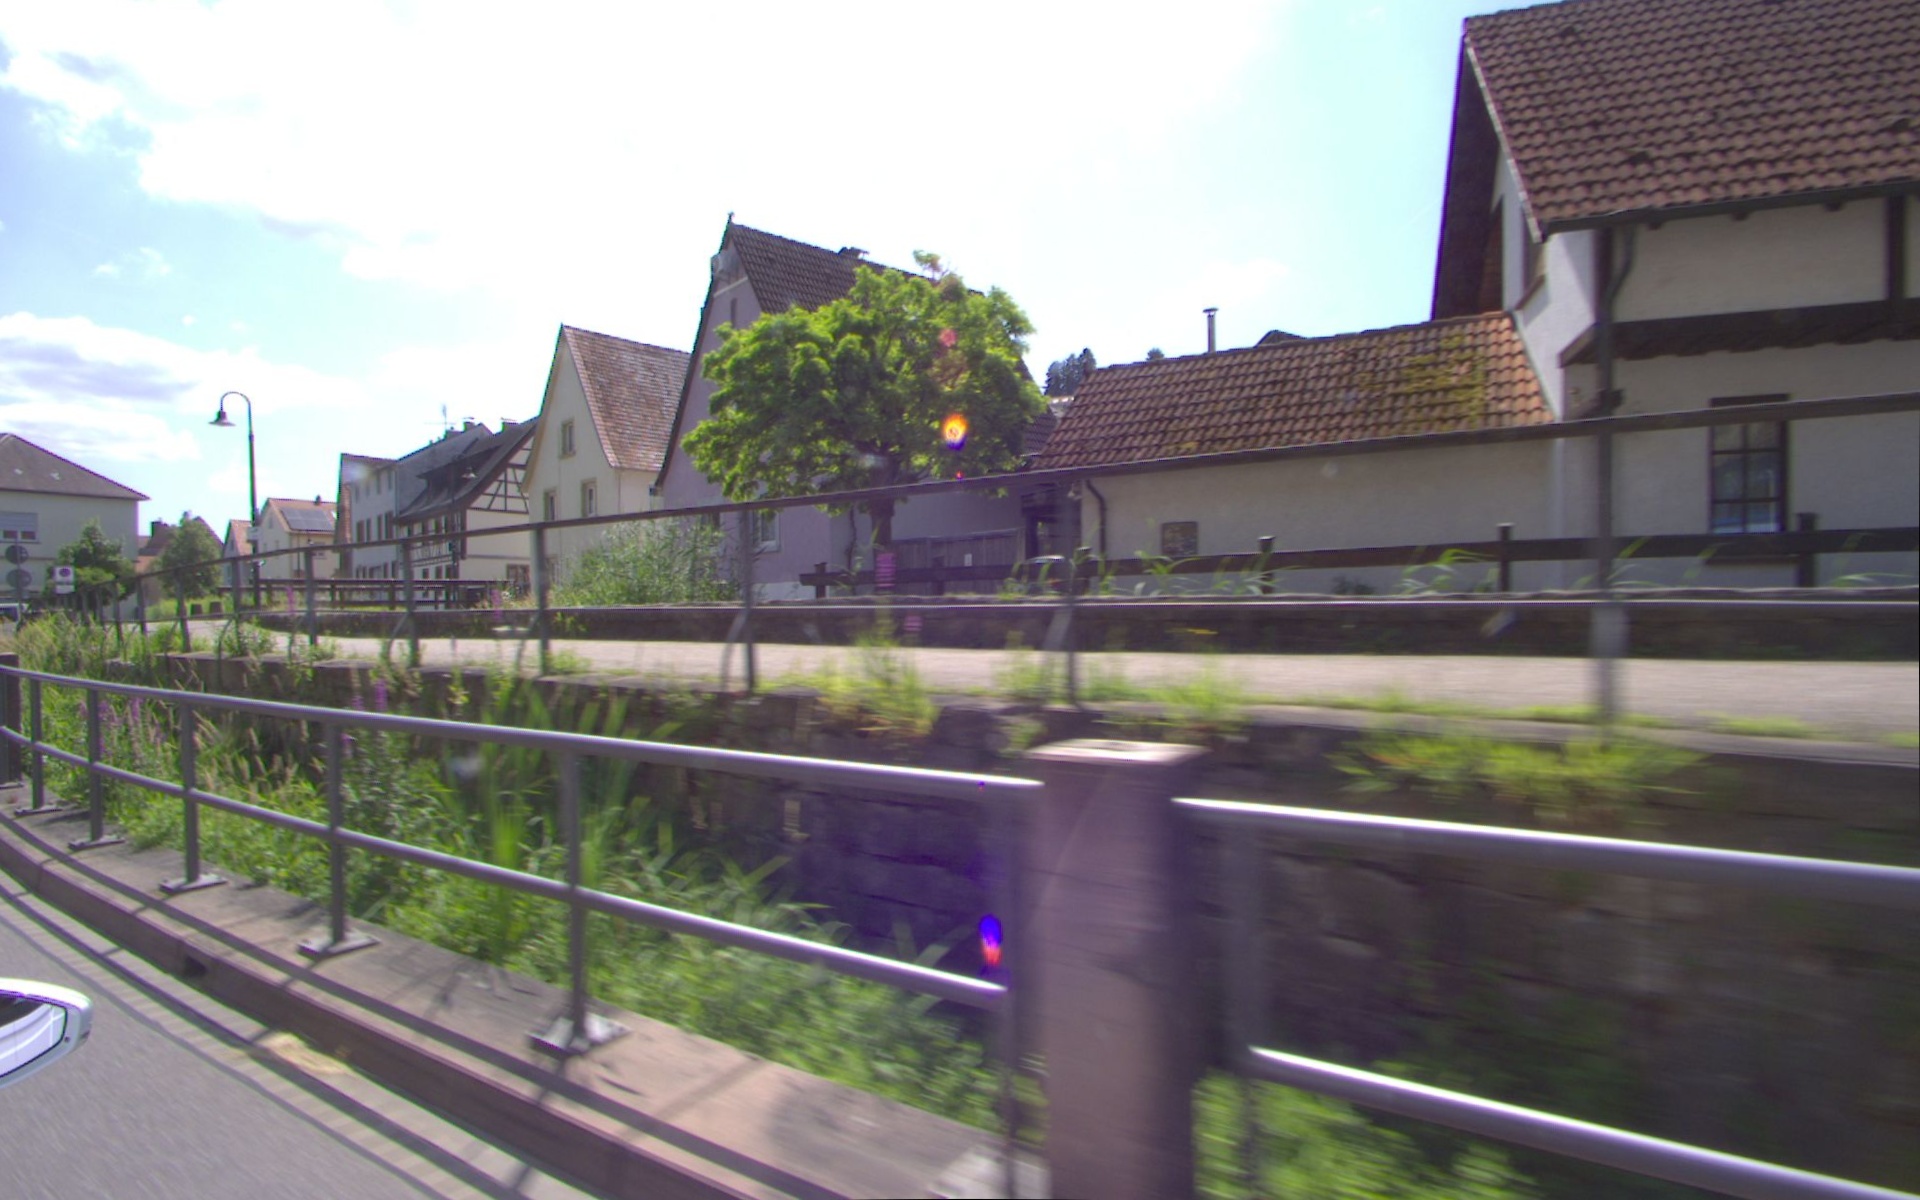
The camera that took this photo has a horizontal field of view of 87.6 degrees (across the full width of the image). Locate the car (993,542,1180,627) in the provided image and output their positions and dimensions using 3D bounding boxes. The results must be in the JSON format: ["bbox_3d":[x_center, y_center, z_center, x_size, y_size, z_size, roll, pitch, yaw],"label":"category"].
[{"bbox_3d":[2.544,-0.252,19.910,3.472,1.545,1.745,1,-1,-36],"label":"car"}]

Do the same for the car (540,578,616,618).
[{"bbox_3d":[-14.734,-0.054,38.574,1.655,1.434,3.048,1,-1,-45],"label":"car"}]

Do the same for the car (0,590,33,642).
[{"bbox_3d":[-38.152,0.644,39.686,1.882,2.007,3.086,-3,2,-41],"label":"car"}]
